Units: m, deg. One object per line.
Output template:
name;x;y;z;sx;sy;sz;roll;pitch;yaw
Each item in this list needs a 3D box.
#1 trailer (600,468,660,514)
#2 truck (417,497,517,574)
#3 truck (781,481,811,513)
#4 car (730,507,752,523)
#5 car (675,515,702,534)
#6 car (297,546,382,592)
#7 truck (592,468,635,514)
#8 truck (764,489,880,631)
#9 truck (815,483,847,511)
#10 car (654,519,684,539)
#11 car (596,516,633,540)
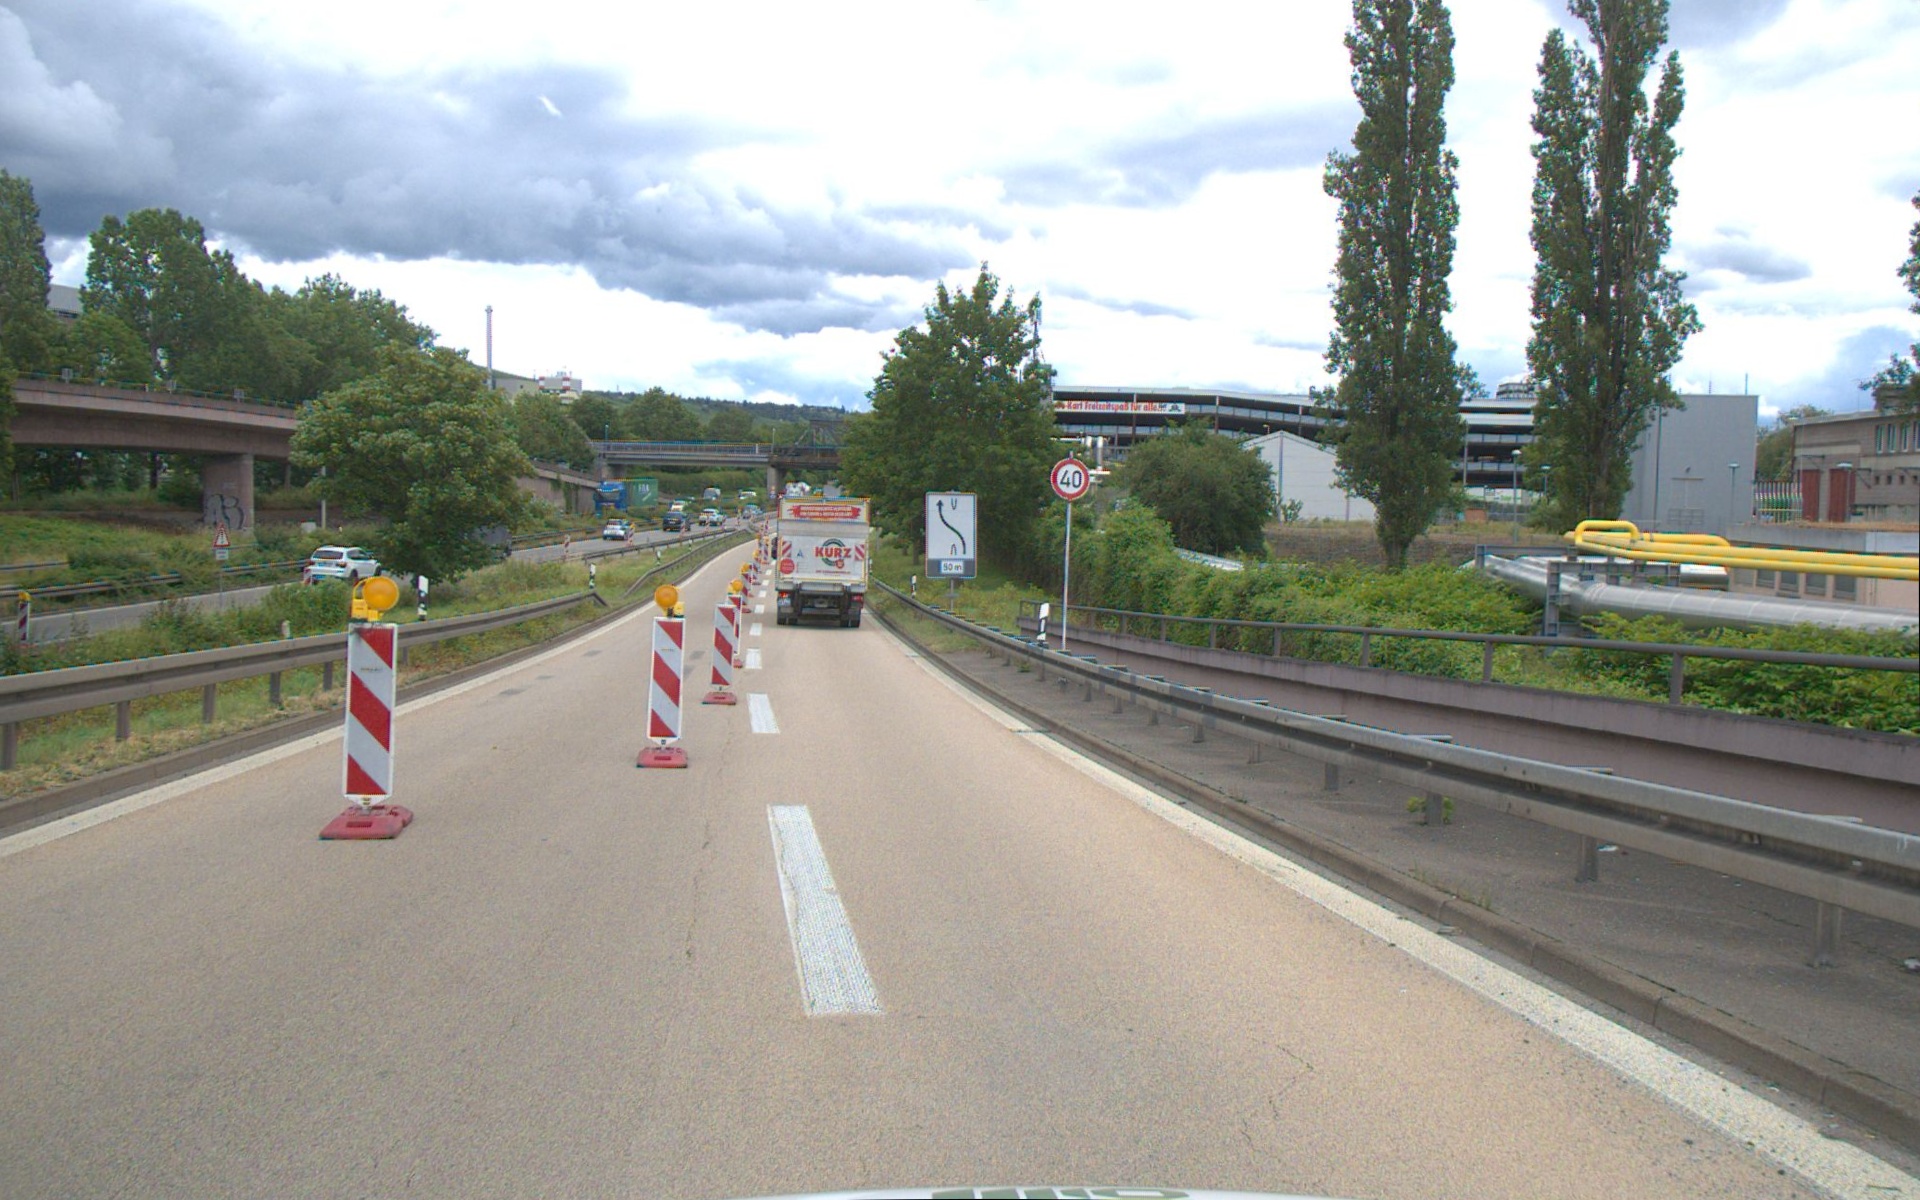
trailer;-33.351;-10.958;167.864;2.714;4.367;13.988;2;3;2
truck;-25.404;-3.390;85.547;2.989;3.718;7.397;2;3;-1
truck;-21.400;-13.453;216.392;3.220;3.918;7.665;2;3;-2
car;-23.770;-9.229;179.791;1.953;1.645;4.000;2;3;-2
car;-25.118;-7.040;153.037;1.953;1.645;4.000;2;3;-2
car;-26.732;-1.362;71.354;1.952;1.742;4.104;2;3;3
truck;-33.629;-10.581;160.749;2.695;4.345;5.506;2;3;2
truck;-4.116;-1.211;48.267;2.992;3.736;7.918;1;2;-6
truck;-17.428;-13.934;224.074;3.218;3.661;7.670;2;3;3
car;-24.980;-6.105;141.963;1.953;1.645;4.000;2;3;-2
car;-25.603;-5.337;122.817;1.953;1.645;4.000;2;3;-2
